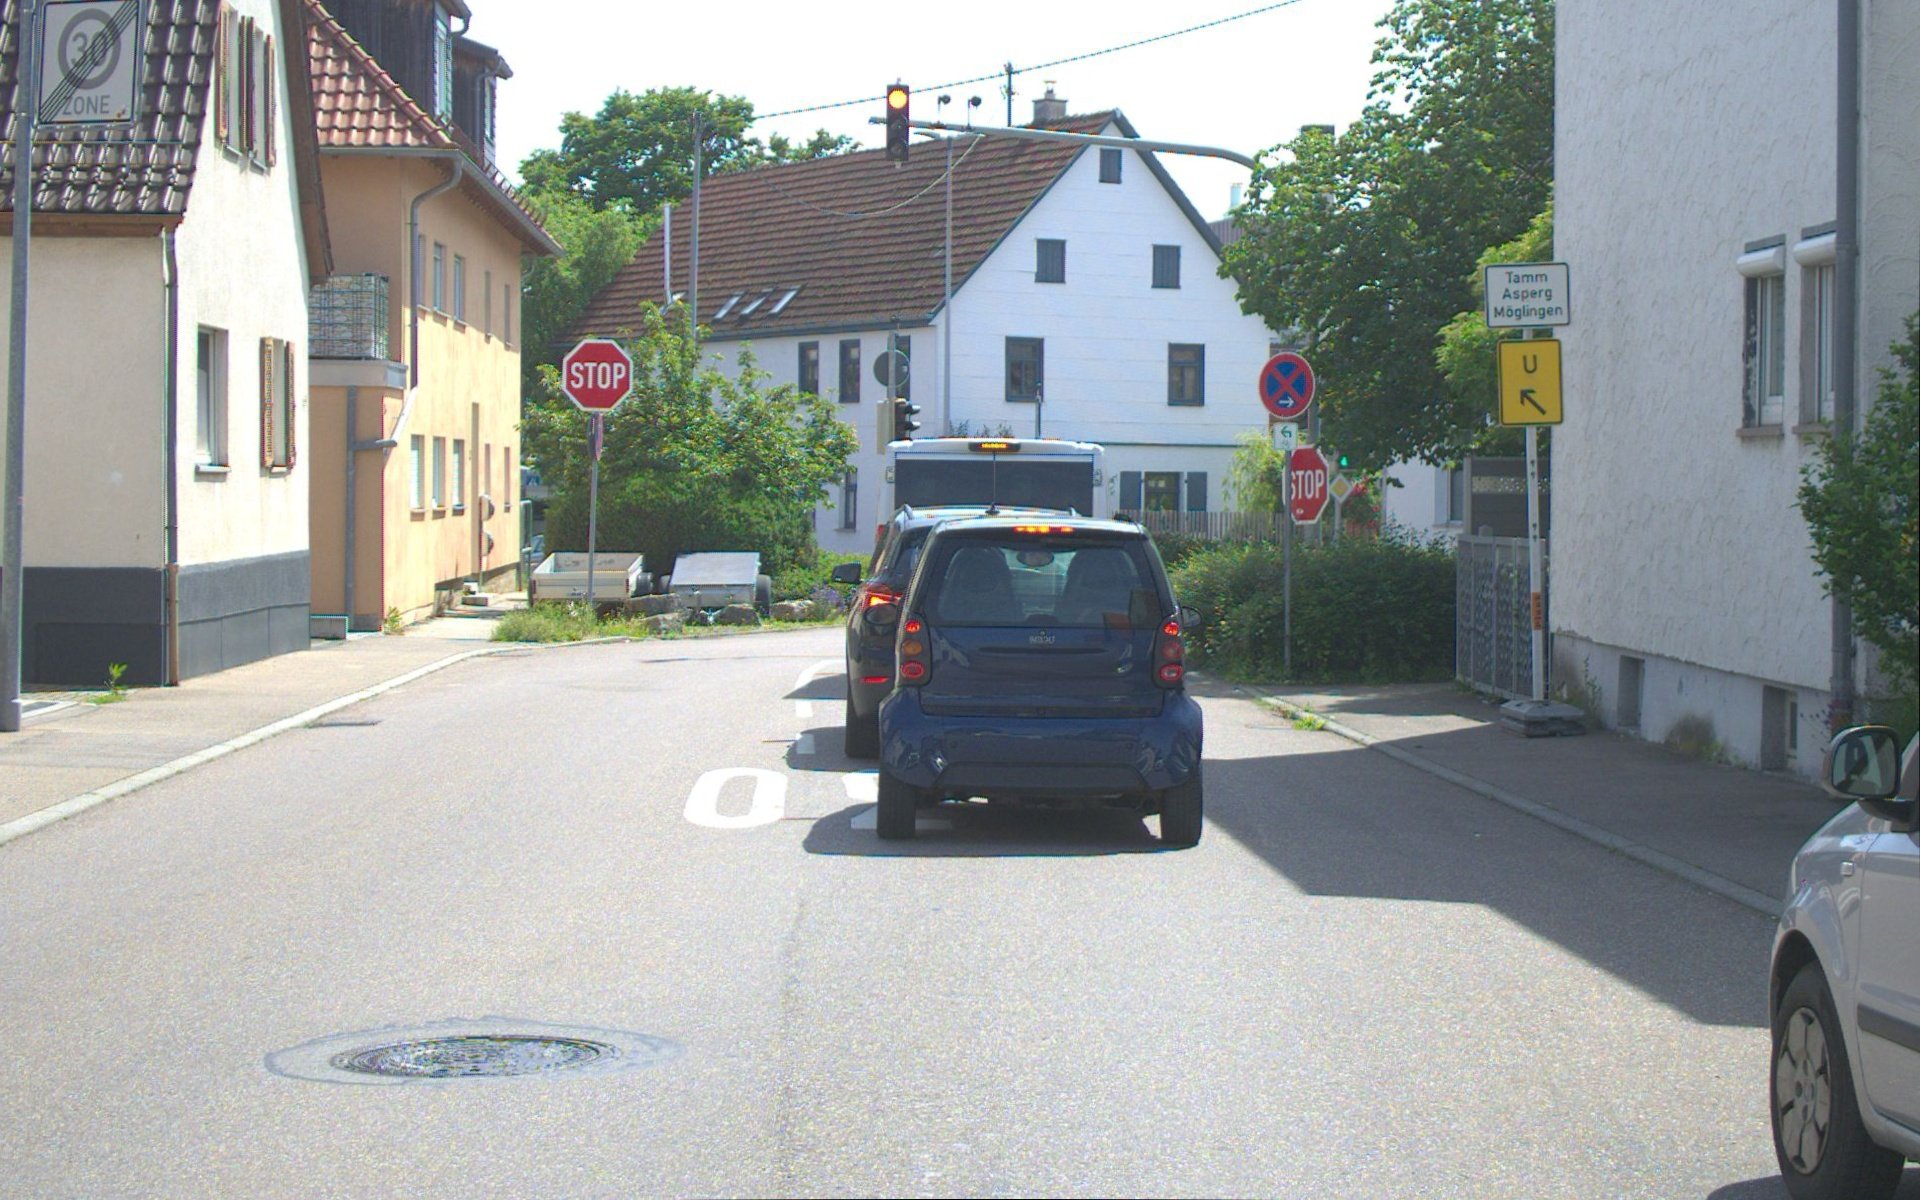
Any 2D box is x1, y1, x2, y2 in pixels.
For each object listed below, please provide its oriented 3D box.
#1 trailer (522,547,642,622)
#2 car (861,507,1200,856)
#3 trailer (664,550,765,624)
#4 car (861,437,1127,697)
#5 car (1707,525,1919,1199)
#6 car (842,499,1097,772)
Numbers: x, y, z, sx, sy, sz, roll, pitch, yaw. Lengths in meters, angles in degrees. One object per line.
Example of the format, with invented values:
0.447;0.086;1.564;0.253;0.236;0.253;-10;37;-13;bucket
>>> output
-5.146;-0.217;46.868;1.501;0.924;1.012;3;1;-1;trailer
0.355;0.335;17.374;1.516;1.561;3.184;2;1;1;car
-3.323;-0.185;46.683;1.310;0.967;0.933;1;1;-1;trailer
0.396;-0.335;31.184;2.129;2.151;4.736;1;1;4;car
2.601;0.635;6.363;1.498;1.508;3.362;1;1;-3;car
0.087;0.171;22.111;1.516;1.619;3.184;0;1;1;car
